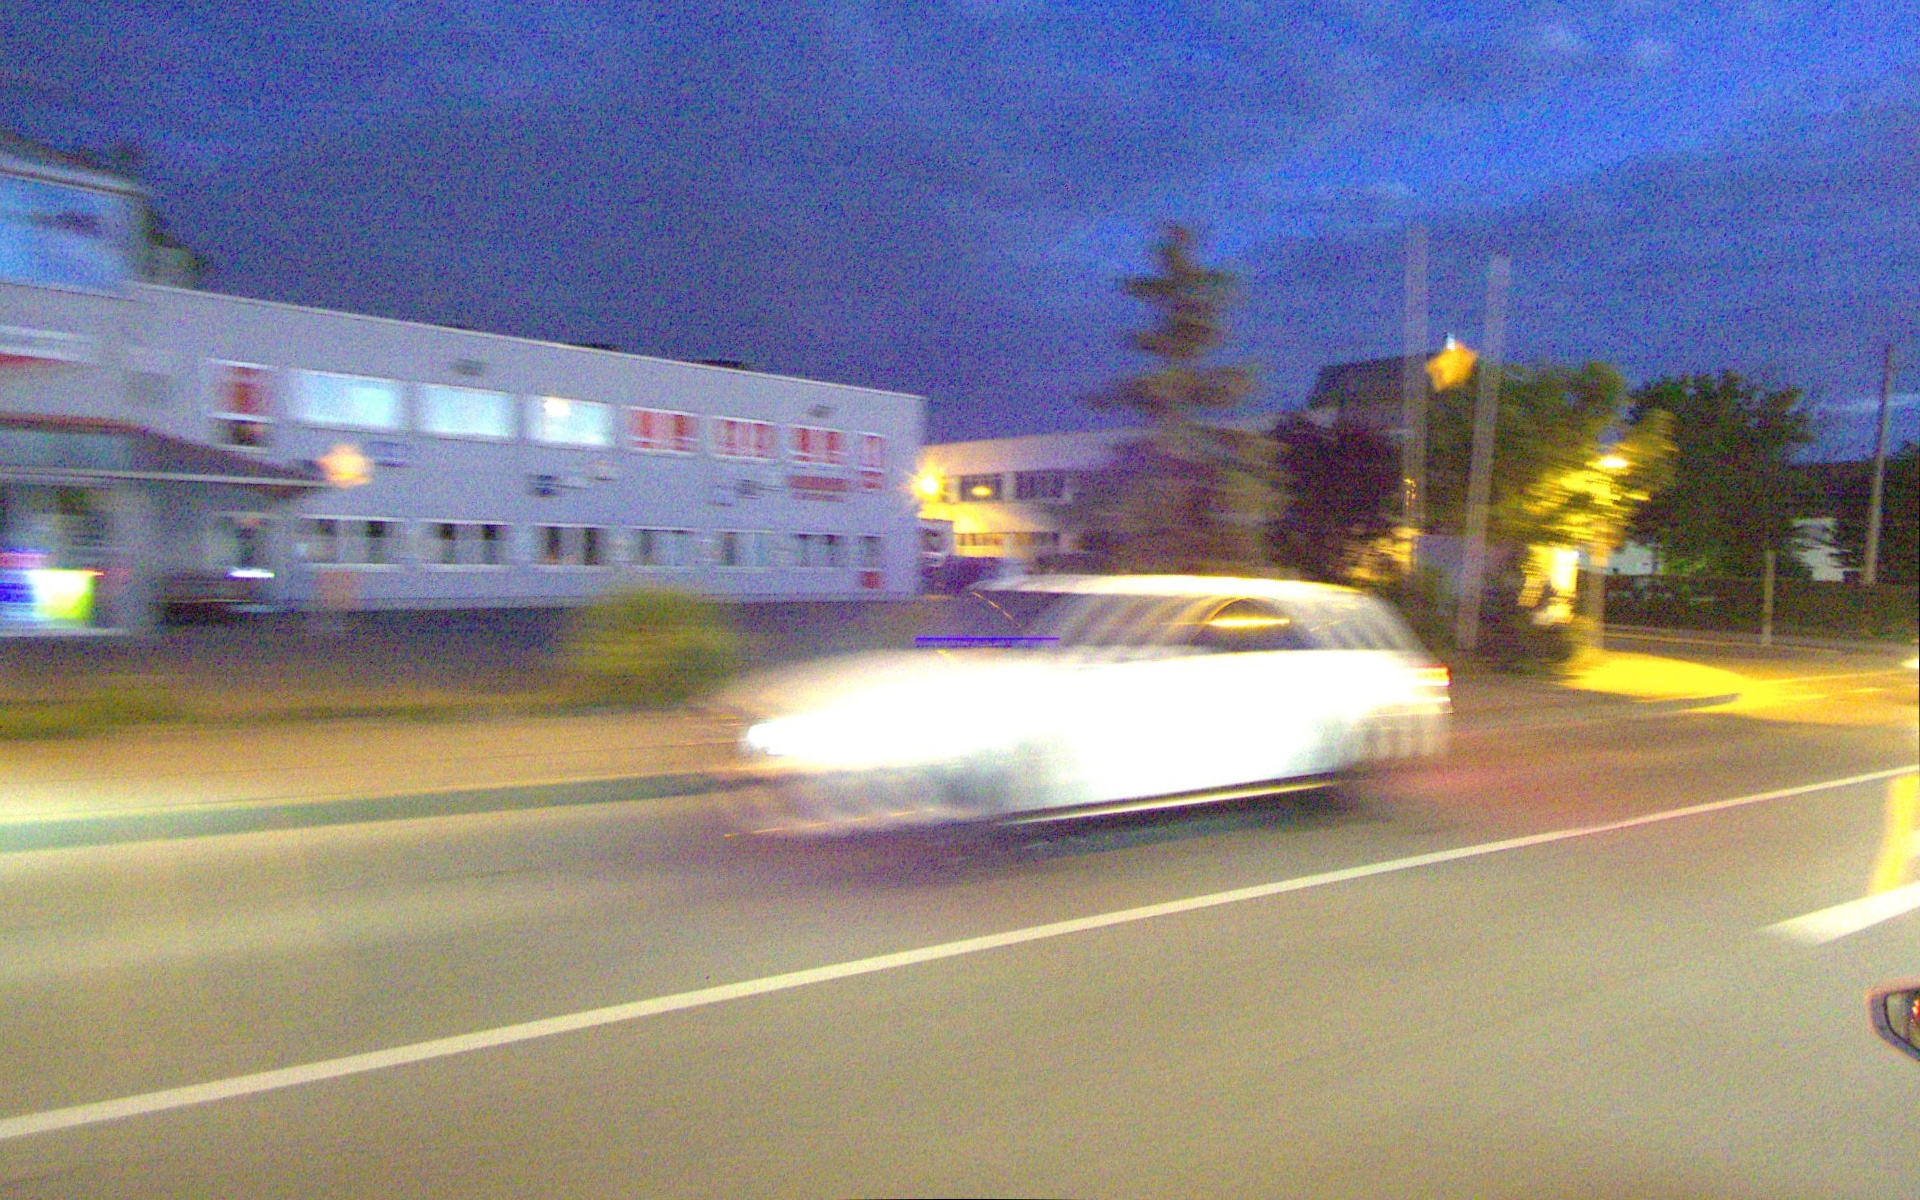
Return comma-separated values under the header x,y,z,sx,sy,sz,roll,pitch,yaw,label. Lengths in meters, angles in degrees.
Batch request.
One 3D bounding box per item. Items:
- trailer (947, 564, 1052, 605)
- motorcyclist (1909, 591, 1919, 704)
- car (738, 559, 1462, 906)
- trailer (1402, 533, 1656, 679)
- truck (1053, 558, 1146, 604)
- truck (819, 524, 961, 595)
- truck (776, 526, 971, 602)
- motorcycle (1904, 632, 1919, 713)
x,y,z,sx,sy,sz,roll,pitch,yaw,label
1.720,-0.739,46.078,1.863,1.644,5.182,0,3,-38,trailer
17.045,0.833,17.082,0.826,1.925,1.125,1,2,-37,motorcyclist
1.095,0.641,6.849,4.699,1.649,1.982,1,1,-32,car
11.975,0.107,21.435,1.977,2.756,4.326,0,0,-31,trailer
8.020,-1.112,58.184,4.971,2.422,2.151,4,3,43,truck
-4.237,-2.218,58.438,2.855,3.776,9.478,0,0,-44,truck
-6.677,-2.747,72.368,17.158,4.875,3.458,4,3,44,truck
17.141,1.239,17.167,2.800,1.322,0.990,1,1,-37,motorcycle
